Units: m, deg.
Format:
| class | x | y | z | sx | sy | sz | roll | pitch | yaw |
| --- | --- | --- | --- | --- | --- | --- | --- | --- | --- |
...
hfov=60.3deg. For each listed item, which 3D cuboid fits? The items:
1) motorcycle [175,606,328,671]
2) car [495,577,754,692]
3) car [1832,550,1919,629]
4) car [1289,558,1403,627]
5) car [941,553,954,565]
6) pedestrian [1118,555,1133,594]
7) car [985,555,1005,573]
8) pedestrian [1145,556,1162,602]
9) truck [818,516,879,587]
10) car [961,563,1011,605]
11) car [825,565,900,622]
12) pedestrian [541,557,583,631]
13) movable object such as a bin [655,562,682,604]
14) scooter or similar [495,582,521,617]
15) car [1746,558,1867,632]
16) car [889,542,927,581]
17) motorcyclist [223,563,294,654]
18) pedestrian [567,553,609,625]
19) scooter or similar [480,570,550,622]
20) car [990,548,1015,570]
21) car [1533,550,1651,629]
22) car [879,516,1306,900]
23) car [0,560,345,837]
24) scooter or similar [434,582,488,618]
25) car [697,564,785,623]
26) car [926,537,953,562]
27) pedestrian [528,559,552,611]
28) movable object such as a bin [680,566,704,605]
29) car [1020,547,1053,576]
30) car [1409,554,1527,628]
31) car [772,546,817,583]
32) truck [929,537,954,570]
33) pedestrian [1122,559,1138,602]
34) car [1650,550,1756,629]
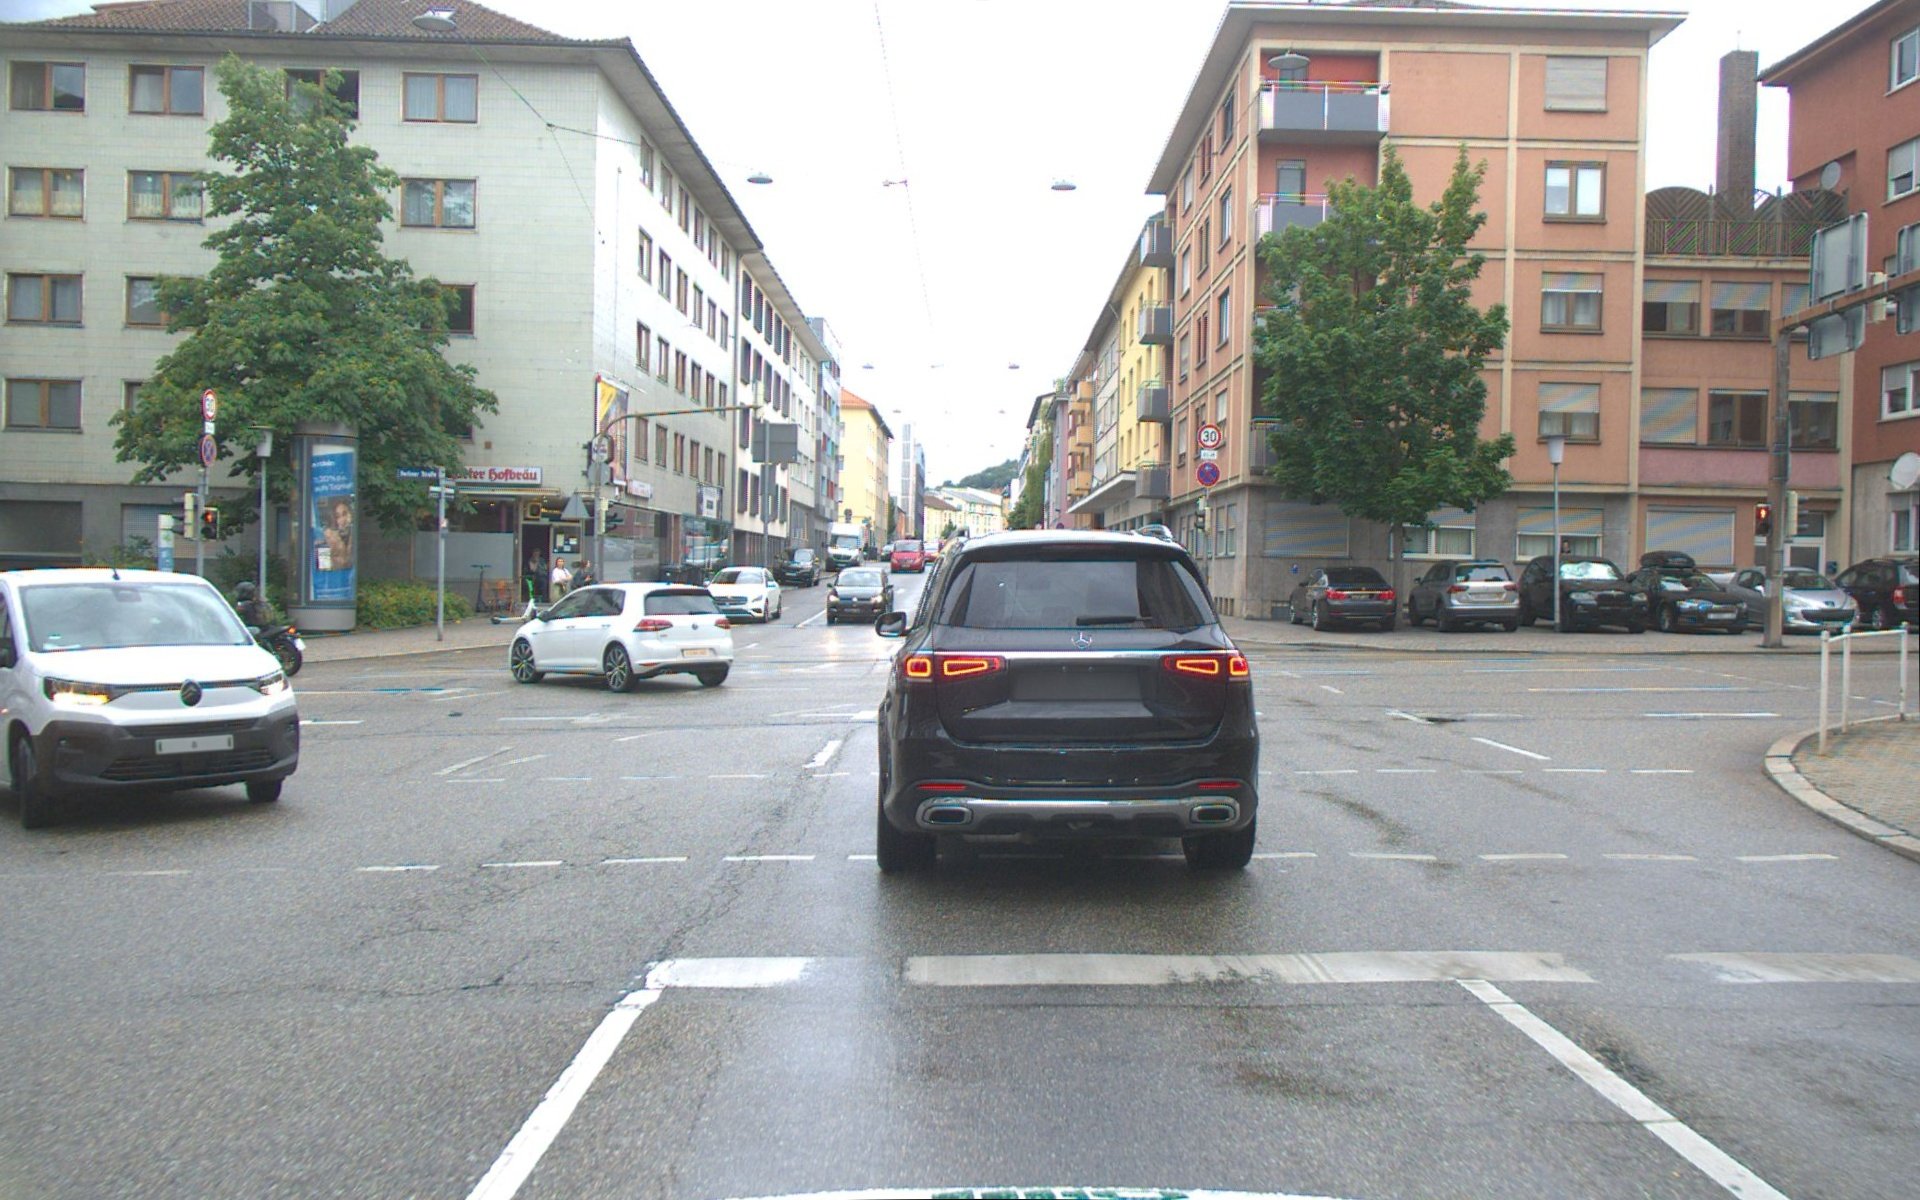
| class | x | y | z | sx | sy | sz | roll | pitch | yaw |
| --- | --- | --- | --- | --- | --- | --- | --- | --- | --- |
| motorcycle | -11.711 | 0.630 | 27.368 | 2.197 | 1.024 | 0.866 | 0 | 0 | 7 |
| car | -4.976 | 0.435 | 24.140 | 1.820 | 1.487 | 4.313 | -2 | 2 | -41 |
| car | 22.551 | -0.211 | 39.514 | 1.951 | 1.736 | 4.003 | 2 | 0 | 12 |
| car | 9.305 | -0.211 | 40.239 | 1.806 | 1.581 | 4.797 | 0 | 1 | 2 |
| car | -1.839 | -6.054 | 242.056 | 1.806 | 1.703 | 4.001 | 0 | 0 | 1 |
| pedestrian | 6.852 | -1.057 | 68.567 | 0.509 | 1.582 | 0.569 | 2 | 4 | 0 |
| car | 3.623 | -3.725 | 171.362 | 1.974 | 1.590 | 4.001 | 2 | 0 | 3 |
| pedestrian | 6.938 | -0.758 | 59.380 | 0.469 | 1.593 | 0.558 | 2 | 4 | 0 |
| truck | -6.714 | -2.883 | 100.706 | 2.749 | 3.899 | 8.146 | 2 | 0 | 2 |
| car | 0.959 | -0.603 | 61.653 | 1.806 | 1.515 | 4.000 | 0 | 0 | 1 |
| car | -2.665 | -0.211 | 46.170 | 1.806 | 1.515 | 4.001 | 0 | 1 | 1 |
| pedestrian | -9.372 | -0.148 | 38.939 | 0.702 | 1.675 | 0.749 | 1 | 4 | -36 |
| movable object such as a bin | -9.468 | -0.540 | 53.758 | 0.683 | 1.338 | 0.782 | 2 | -1 | -1 |
| scooter or similar | -11.561 | -0.012 | 42.249 | 0.452 | 0.857 | 1.313 | 2 | 0 | -22 |
| car | 19.940 | -0.092 | 39.099 | 1.634 | 1.609 | 4.003 | 2 | 0 | 14 |
| car | -3.075 | -2.291 | 98.925 | 2.022 | 2.280 | 4.621 | 0 | 0 | 1 |
| motorcyclist | -11.586 | 0.127 | 27.333 | 0.728 | 1.478 | 0.908 | 0 | 0 | 5 |
| pedestrian | -8.961 | -0.265 | 39.785 | 0.702 | 1.675 | 0.749 | 1 | 4 | -36 |
| scooter or similar | -10.871 | -0.087 | 40.429 | 1.539 | 1.211 | 0.496 | 3 | -1 | -30 |
| car | 3.553 | -3.401 | 137.251 | 1.974 | 1.590 | 4.001 | 2 | 0 | 3 |
| car | 14.829 | -0.248 | 39.015 | 1.944 | 1.749 | 4.004 | 0 | 1 | 11 |
| car | 0.535 | 0.506 | 10.069 | 1.980 | 1.770 | 4.745 | 1 | 0 | -2 |
| car | -6.621 | 0.648 | 12.782 | 1.799 | 1.745 | 4.471 | -2 | 1 | -45 |
| scooter or similar | -12.535 | -0.009 | 41.526 | 1.437 | 0.857 | 0.548 | 2 | -1 | 37 |
| car | -5.941 | -0.198 | 45.277 | 1.806 | 1.539 | 4.001 | 0 | 1 | 1 |
| car | -1.494 | -3.623 | 119.611 | 1.806 | 1.703 | 4.001 | 0 | 0 | 1 |
| pedestrian | -11.873 | -0.415 | 46.734 | 0.508 | 1.424 | 0.578 | 2 | -1 | -3 |
| movable object such as a bin | -9.447 | -0.502 | 58.364 | 0.683 | 1.338 | 0.782 | 2 | -1 | -1 |
| car | 4.856 | -2.430 | 105.279 | 1.974 | 1.590 | 5.156 | 2 | 0 | 3 |
| car | 12.070 | -0.235 | 39.555 | 1.944 | 1.689 | 4.003 | 0 | 1 | 6 |
| car | -7.572 | -1.606 | 76.126 | 1.688 | 1.631 | 4.000 | 0 | 0 | 0 |
| truck | -2.415 | -5.976 | 215.077 | 2.749 | 3.899 | 8.146 | 2 | 0 | 2 |
| pedestrian | 6.432 | -0.744 | 62.644 | 0.509 | 1.565 | 0.569 | 2 | 4 | 0 |
| car | 17.591 | -0.259 | 39.292 | 1.757 | 1.727 | 4.002 | 2 | 1 | 17 |
